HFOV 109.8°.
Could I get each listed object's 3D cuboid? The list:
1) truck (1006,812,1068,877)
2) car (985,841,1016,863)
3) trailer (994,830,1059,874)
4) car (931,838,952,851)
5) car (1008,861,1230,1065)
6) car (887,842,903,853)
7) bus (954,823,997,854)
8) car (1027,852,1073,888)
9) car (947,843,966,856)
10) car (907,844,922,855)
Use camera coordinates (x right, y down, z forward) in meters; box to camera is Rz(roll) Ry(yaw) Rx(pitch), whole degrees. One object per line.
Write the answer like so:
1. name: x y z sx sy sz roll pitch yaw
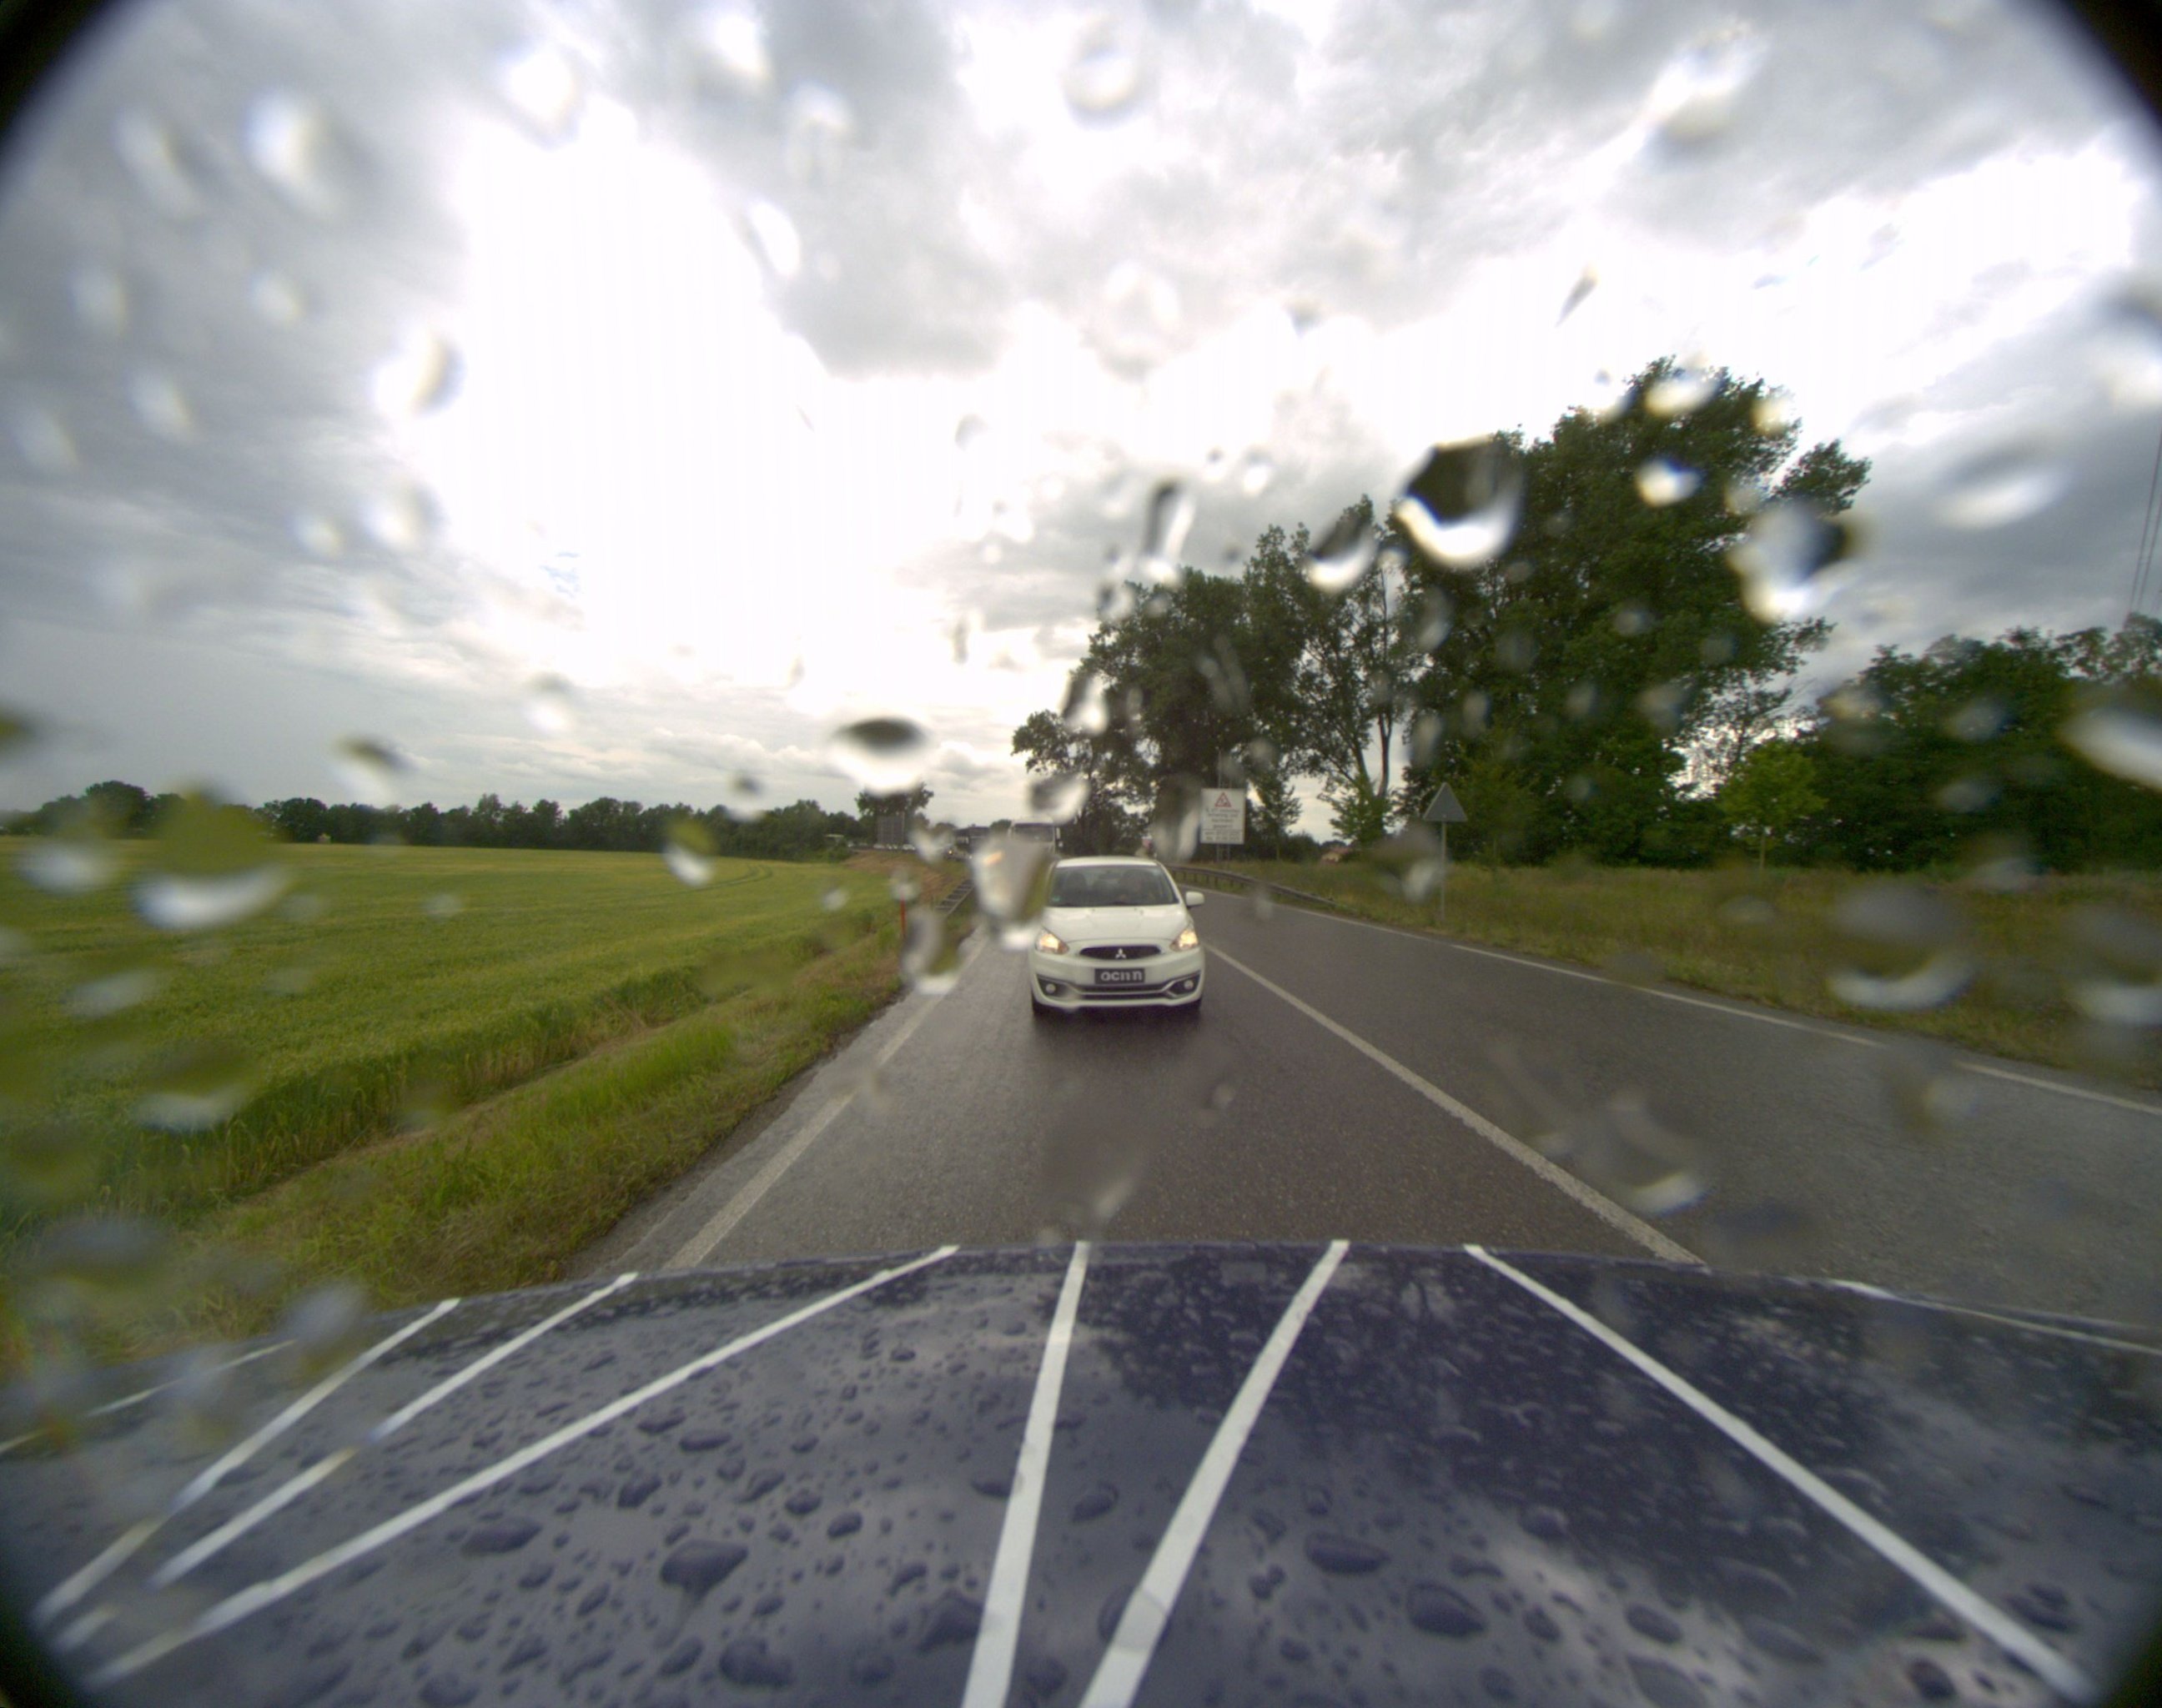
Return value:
1. truck: -2.780 -0.603 45.976 2.986 3.590 6.074 -2 2 -10
2. car: -7.446 -0.234 69.753 2.044 1.832 5.328 -2 1 -14
3. trailer: -4.211 -0.296 54.388 2.986 2.618 15.664 -2 1 -10
4. car: -21.597 -1.460 117.435 2.002 2.002 5.325 -2 2 -23
5. car: 0.282 0.853 7.809 1.653 1.461 4.029 -2 0 0
6. car: -38.454 -1.356 157.378 2.003 2.002 4.254 -3 2 -30
7. bus: -12.582 -1.889 89.339 2.967 3.294 14.813 -2 2 -15
8. car: -1.482 0.676 34.798 1.782 1.380 4.325 -2 1 -7
9. car: -16.959 -0.630 103.181 1.816 1.569 3.993 -2 2 -19
10. car: -31.570 -0.861 143.630 2.002 2.002 4.223 -2 2 -22
